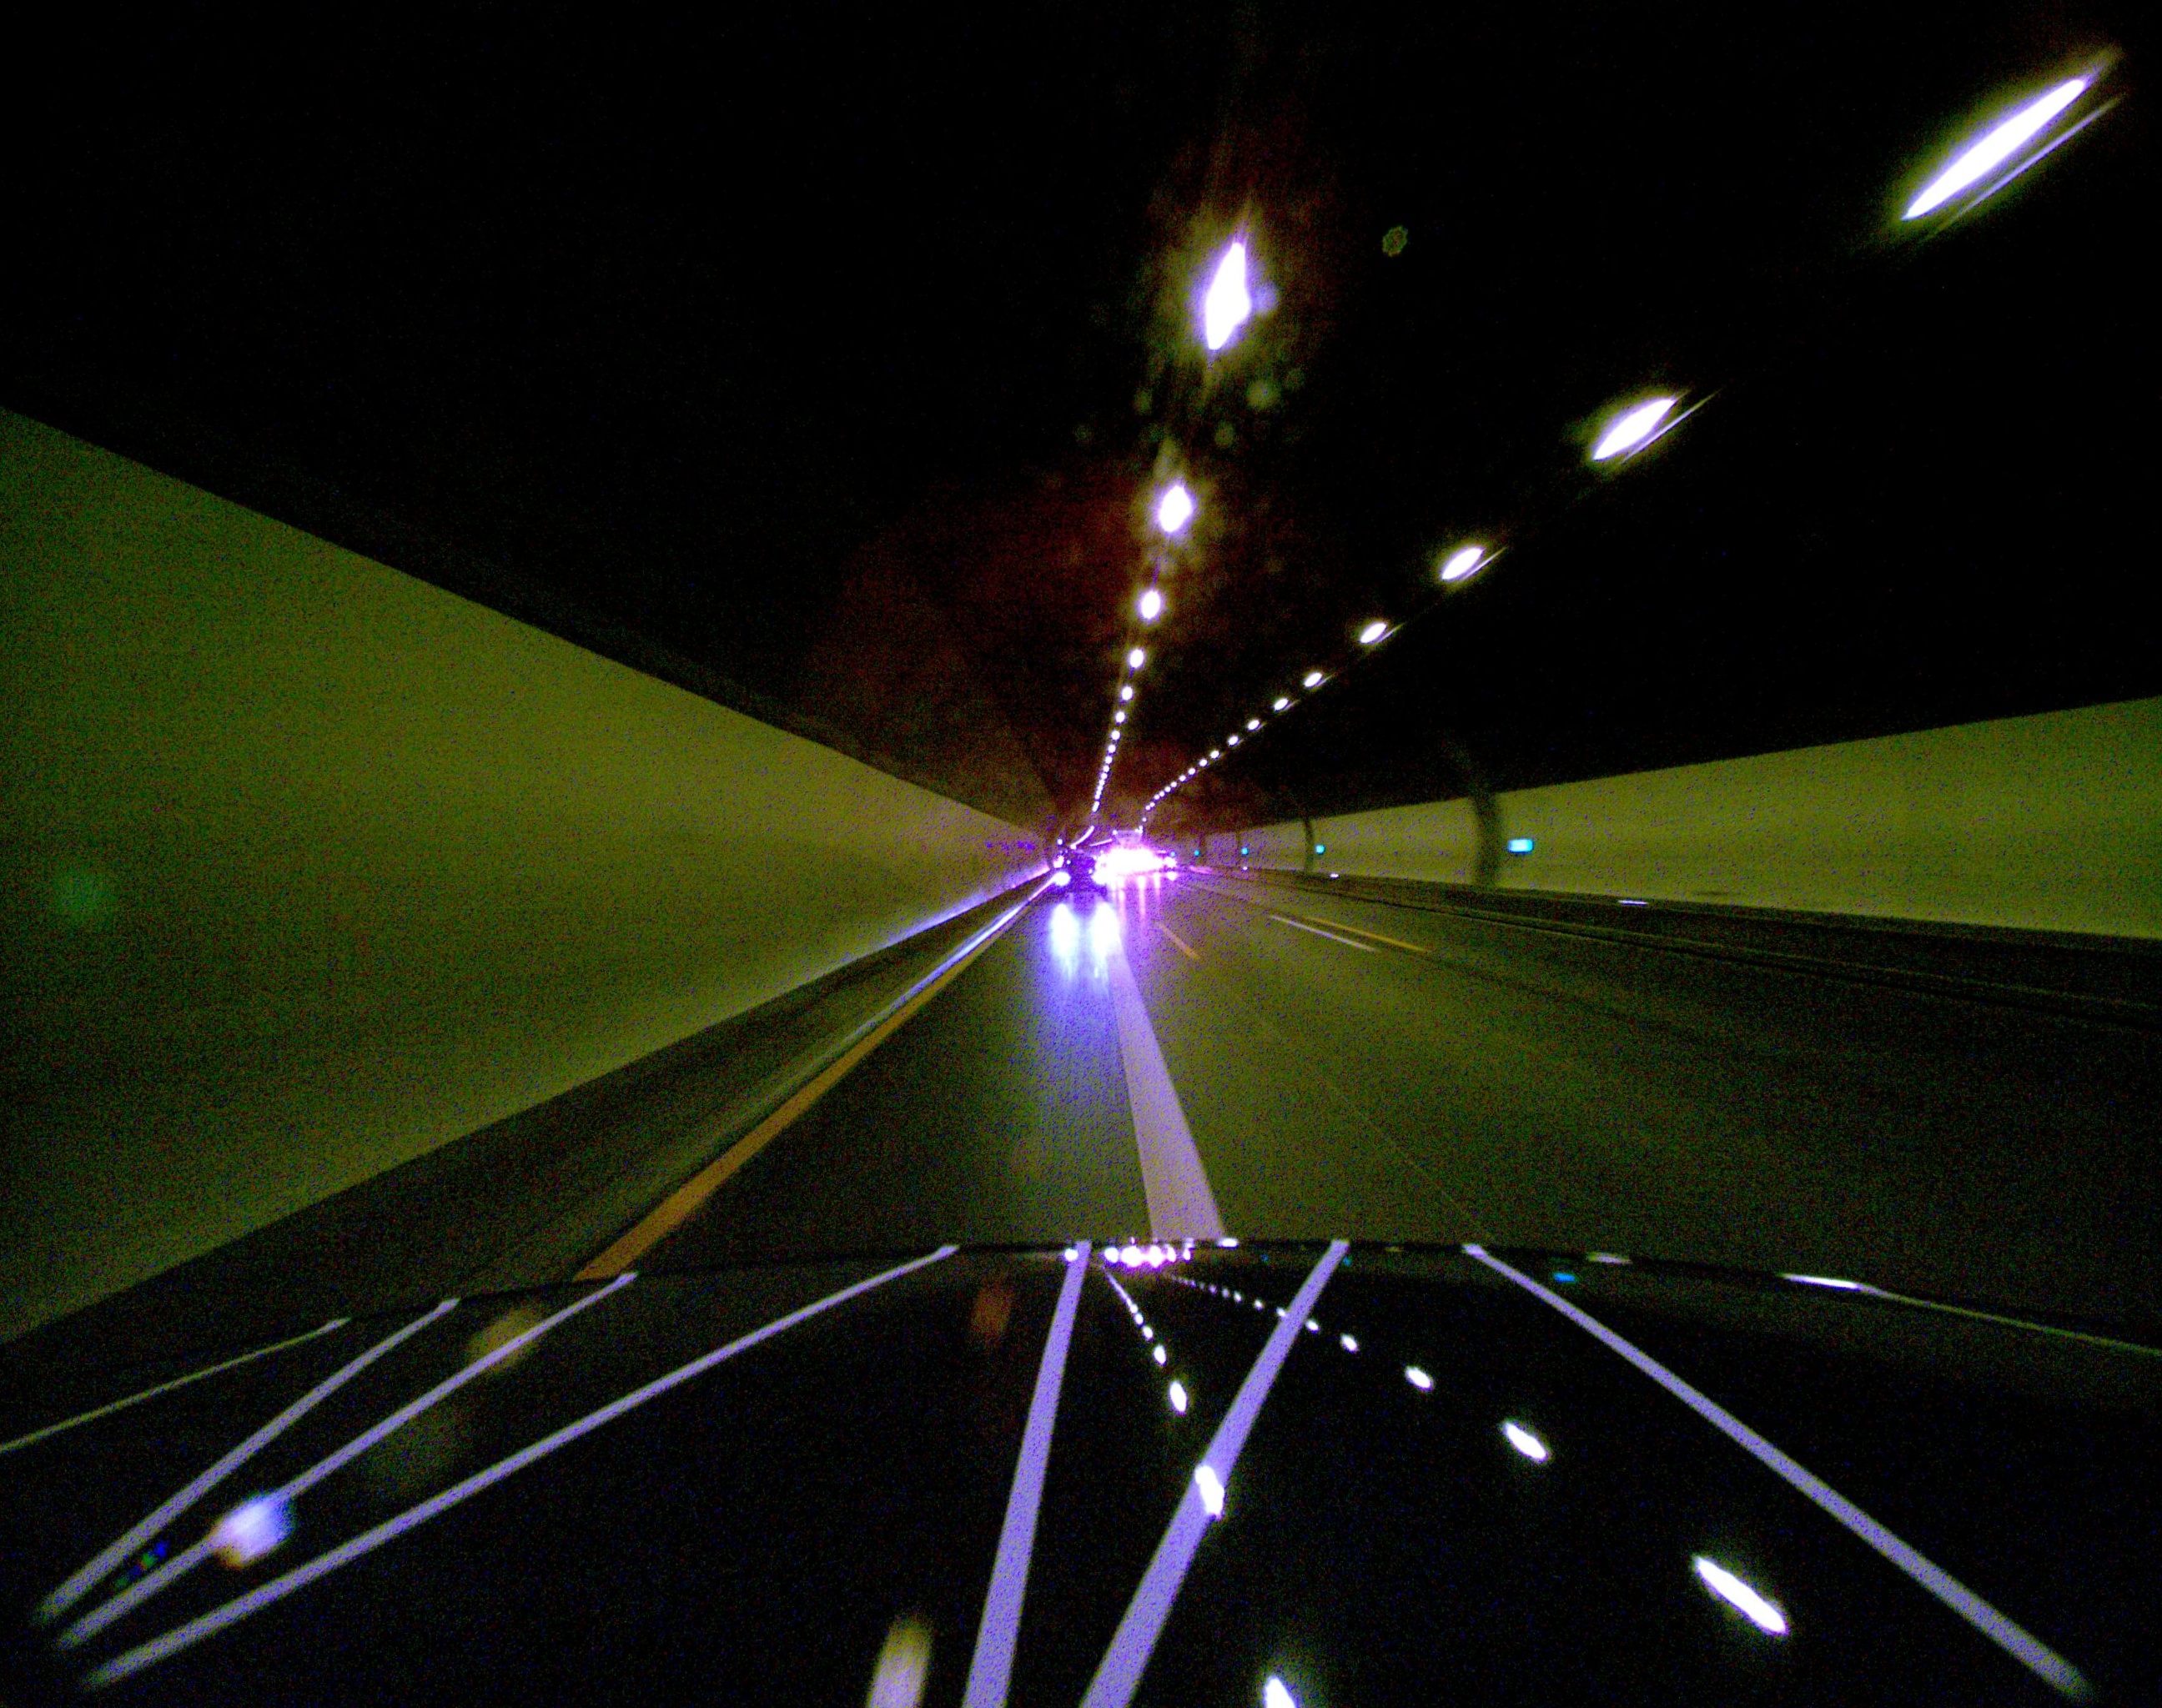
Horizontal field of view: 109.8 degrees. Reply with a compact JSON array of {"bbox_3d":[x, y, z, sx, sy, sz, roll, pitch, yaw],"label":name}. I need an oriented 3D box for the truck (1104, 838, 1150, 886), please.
[{"bbox_3d":[3.286,0.572,56.353,2.534,3.314,7.714,-1,0,-3],"label":"truck"}]

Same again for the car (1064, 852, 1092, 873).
[{"bbox_3d":[-0.281,0.658,59.954,1.999,1.531,4.741,-1,0,-3],"label":"car"}]

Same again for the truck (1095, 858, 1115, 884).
[{"bbox_3d":[2.946,2.056,93.473,2.162,3.098,6.030,-1,0,0],"label":"truck"}]

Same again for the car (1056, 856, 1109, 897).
[{"bbox_3d":[-0.035,0.845,29.847,1.826,1.469,4.520,-1,0,-3],"label":"car"}]

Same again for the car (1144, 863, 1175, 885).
[{"bbox_3d":[6.196,1.546,60.328,1.998,1.531,4.851,-1,0,1],"label":"car"}]

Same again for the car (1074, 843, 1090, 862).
[{"bbox_3d":[0.111,-0.236,113.587,1.999,2.710,6.272,-1,0,-3],"label":"car"}]

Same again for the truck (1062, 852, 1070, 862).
[{"bbox_3d":[-5.264,1.050,266.400,2.208,3.449,11.766,0,0,1],"label":"truck"}]
